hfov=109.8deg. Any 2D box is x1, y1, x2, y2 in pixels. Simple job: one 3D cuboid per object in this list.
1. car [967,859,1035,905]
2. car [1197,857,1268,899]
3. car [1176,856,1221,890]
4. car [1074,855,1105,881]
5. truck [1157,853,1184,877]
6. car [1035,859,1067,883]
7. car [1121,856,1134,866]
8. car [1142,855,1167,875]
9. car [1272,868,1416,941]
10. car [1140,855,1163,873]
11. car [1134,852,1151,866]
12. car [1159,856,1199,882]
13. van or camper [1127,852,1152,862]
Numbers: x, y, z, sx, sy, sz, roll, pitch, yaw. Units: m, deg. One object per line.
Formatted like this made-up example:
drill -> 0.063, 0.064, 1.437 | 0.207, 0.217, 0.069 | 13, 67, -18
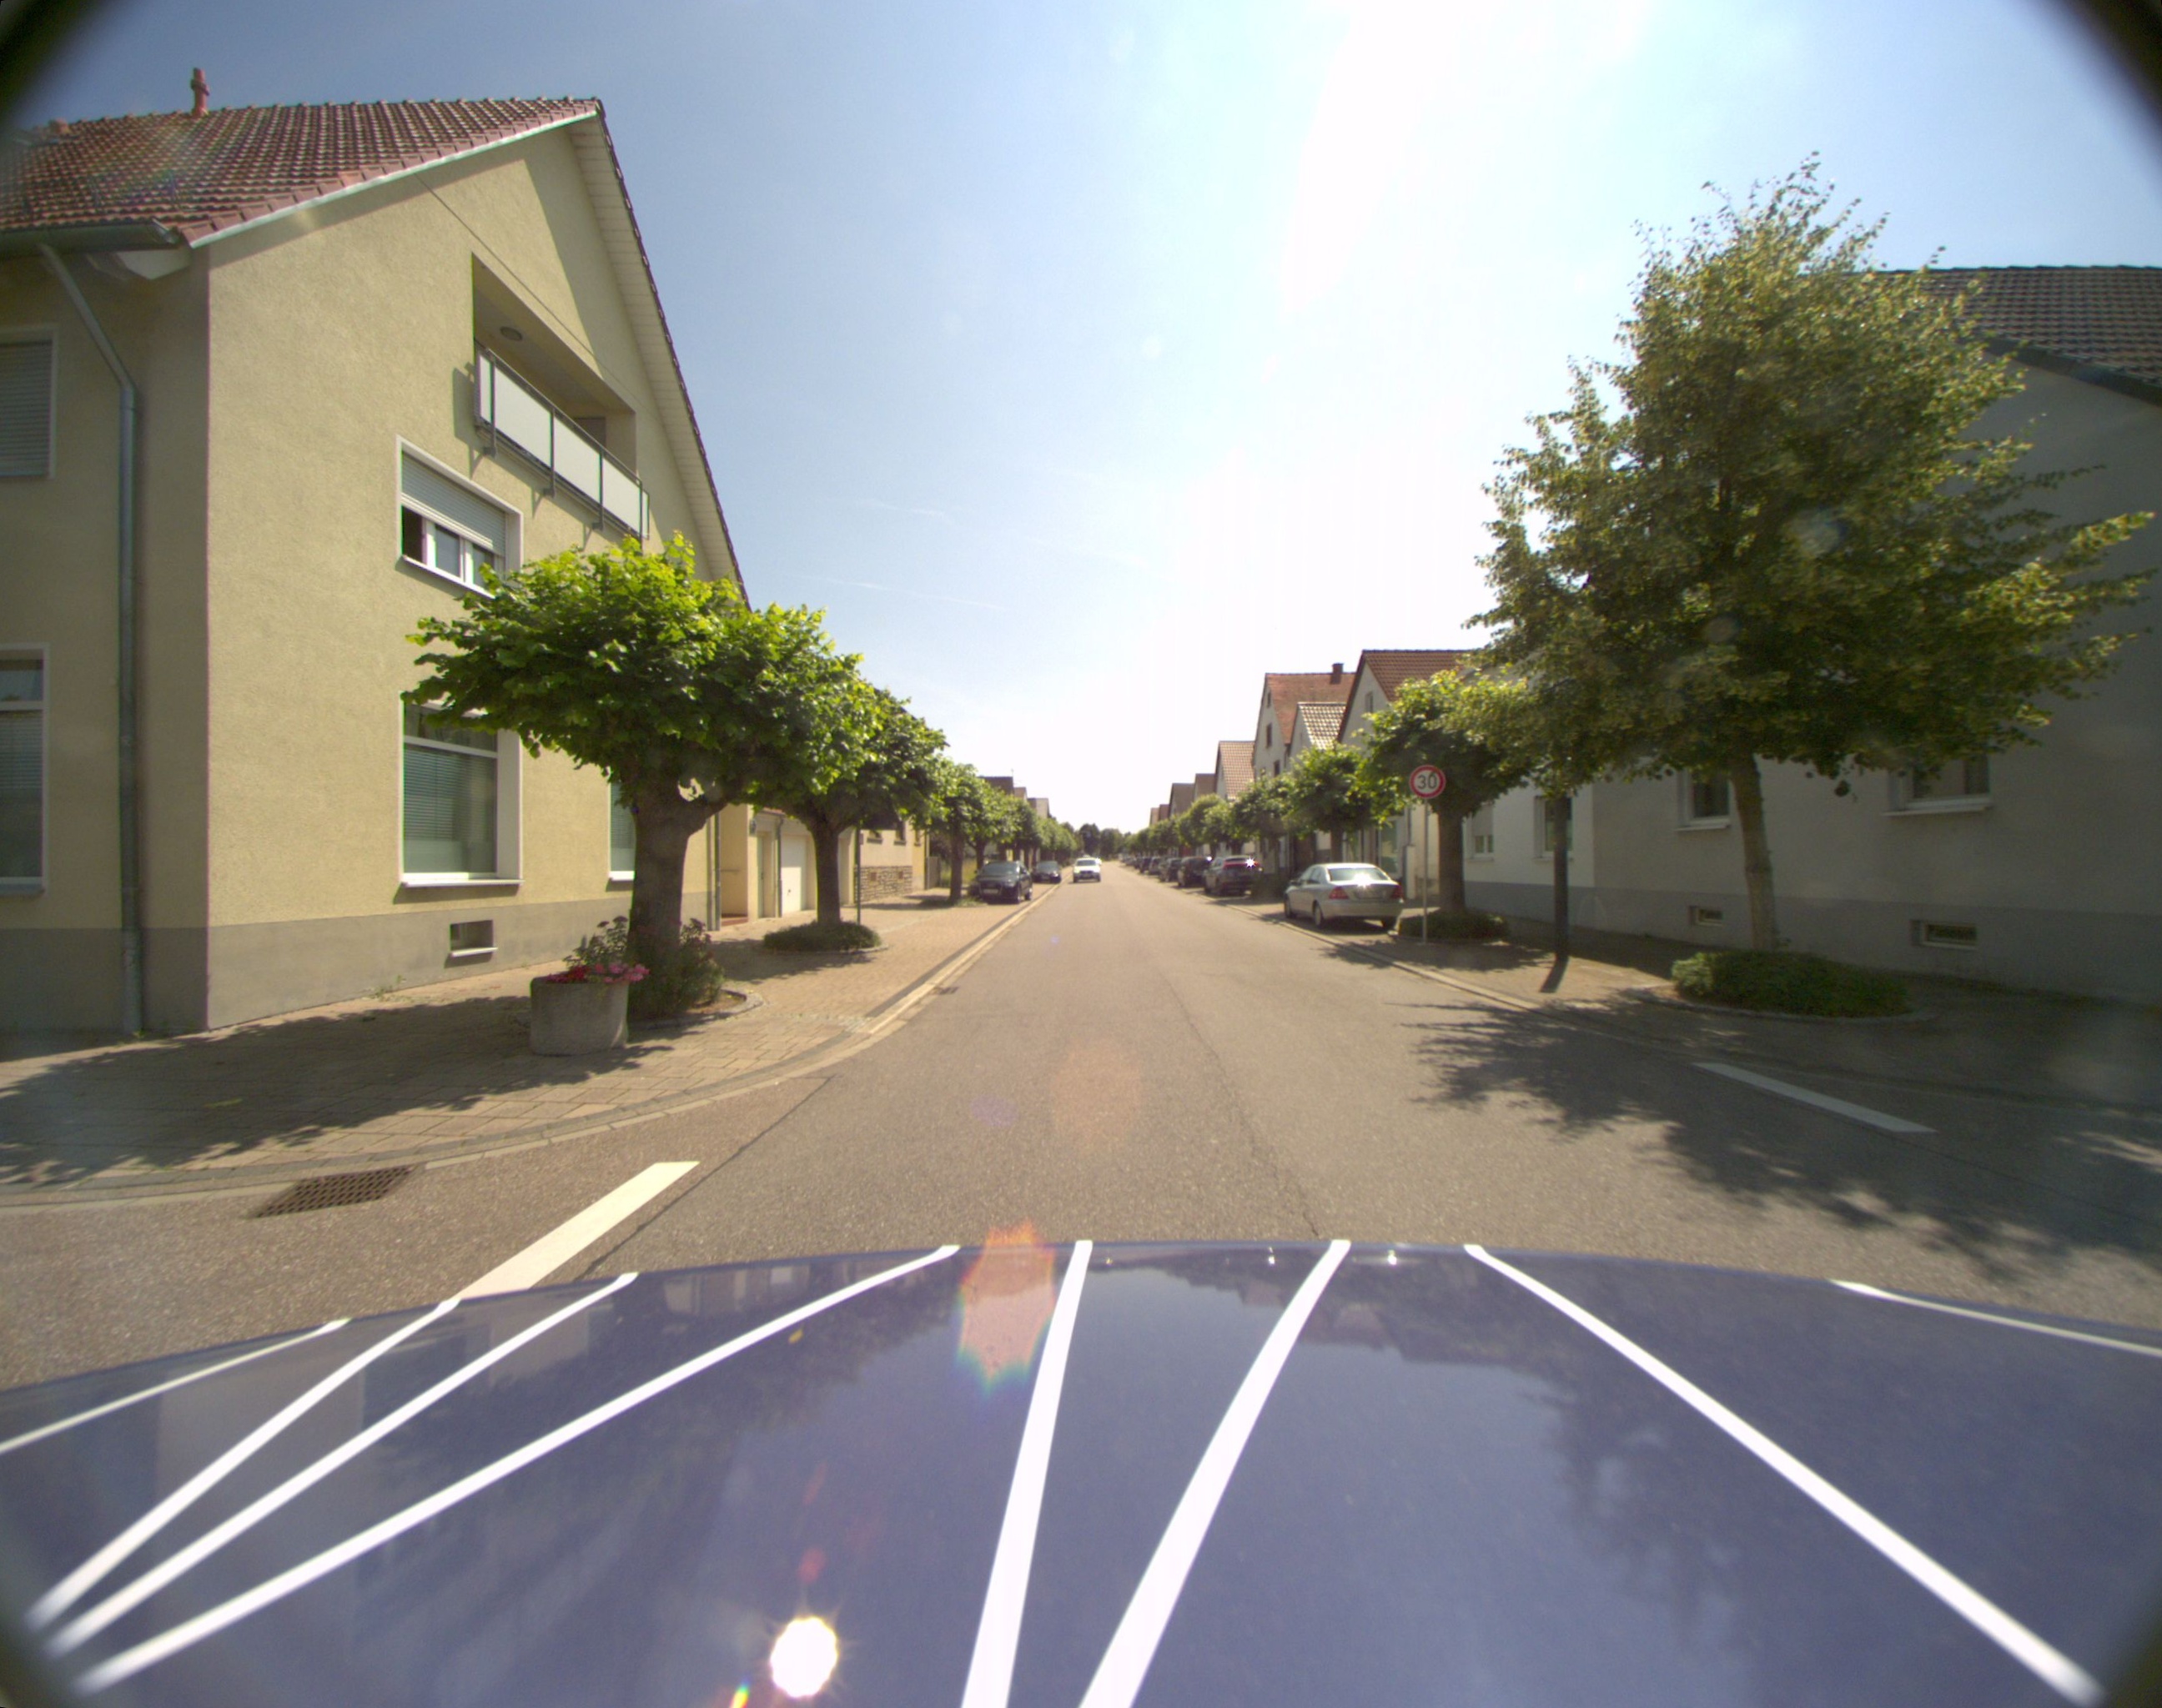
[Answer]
car -> -2.937, 1.006, 28.724 | 1.828, 1.576, 4.058 | 1, 0, 5
car -> 6.339, 0.961, 32.298 | 1.999, 1.643, 4.366 | -1, 0, -2
car -> 6.320, 1.000, 41.327 | 1.857, 1.625, 4.056 | -2, 0, 1
car -> 0.633, 0.907, 51.050 | 1.857, 1.603, 4.135 | -3, 0, 3
truck -> 6.931, 0.847, 59.326 | 1.580, 1.755, 4.192 | -3, 0, 1
car -> -1.939, 1.078, 49.967 | 1.828, 1.423, 4.057 | 2, 0, 1
car -> 7.544, 1.096, 124.039 | 1.829, 1.474, 4.132 | -3, 0, 1
car -> 6.502, 0.915, 67.704 | 1.857, 1.603, 4.370 | -3, 0, 1
car -> 5.939, 1.073, 17.749 | 1.845, 1.387, 4.406 | -1, 0, 1
car -> 6.941, 0.944, 74.786 | 1.857, 1.626, 4.300 | -3, -1, 1
car -> 7.713, 0.600, 95.721 | 1.857, 1.603, 4.135 | -3, 0, 3
car -> 6.444, 0.967, 50.488 | 1.791, 1.624, 3.998 | -2, 0, -4
van or camper -> 11.664, 0.619, 151.881 | 4.752, 1.851, 2.000 | -2, 0, 0
